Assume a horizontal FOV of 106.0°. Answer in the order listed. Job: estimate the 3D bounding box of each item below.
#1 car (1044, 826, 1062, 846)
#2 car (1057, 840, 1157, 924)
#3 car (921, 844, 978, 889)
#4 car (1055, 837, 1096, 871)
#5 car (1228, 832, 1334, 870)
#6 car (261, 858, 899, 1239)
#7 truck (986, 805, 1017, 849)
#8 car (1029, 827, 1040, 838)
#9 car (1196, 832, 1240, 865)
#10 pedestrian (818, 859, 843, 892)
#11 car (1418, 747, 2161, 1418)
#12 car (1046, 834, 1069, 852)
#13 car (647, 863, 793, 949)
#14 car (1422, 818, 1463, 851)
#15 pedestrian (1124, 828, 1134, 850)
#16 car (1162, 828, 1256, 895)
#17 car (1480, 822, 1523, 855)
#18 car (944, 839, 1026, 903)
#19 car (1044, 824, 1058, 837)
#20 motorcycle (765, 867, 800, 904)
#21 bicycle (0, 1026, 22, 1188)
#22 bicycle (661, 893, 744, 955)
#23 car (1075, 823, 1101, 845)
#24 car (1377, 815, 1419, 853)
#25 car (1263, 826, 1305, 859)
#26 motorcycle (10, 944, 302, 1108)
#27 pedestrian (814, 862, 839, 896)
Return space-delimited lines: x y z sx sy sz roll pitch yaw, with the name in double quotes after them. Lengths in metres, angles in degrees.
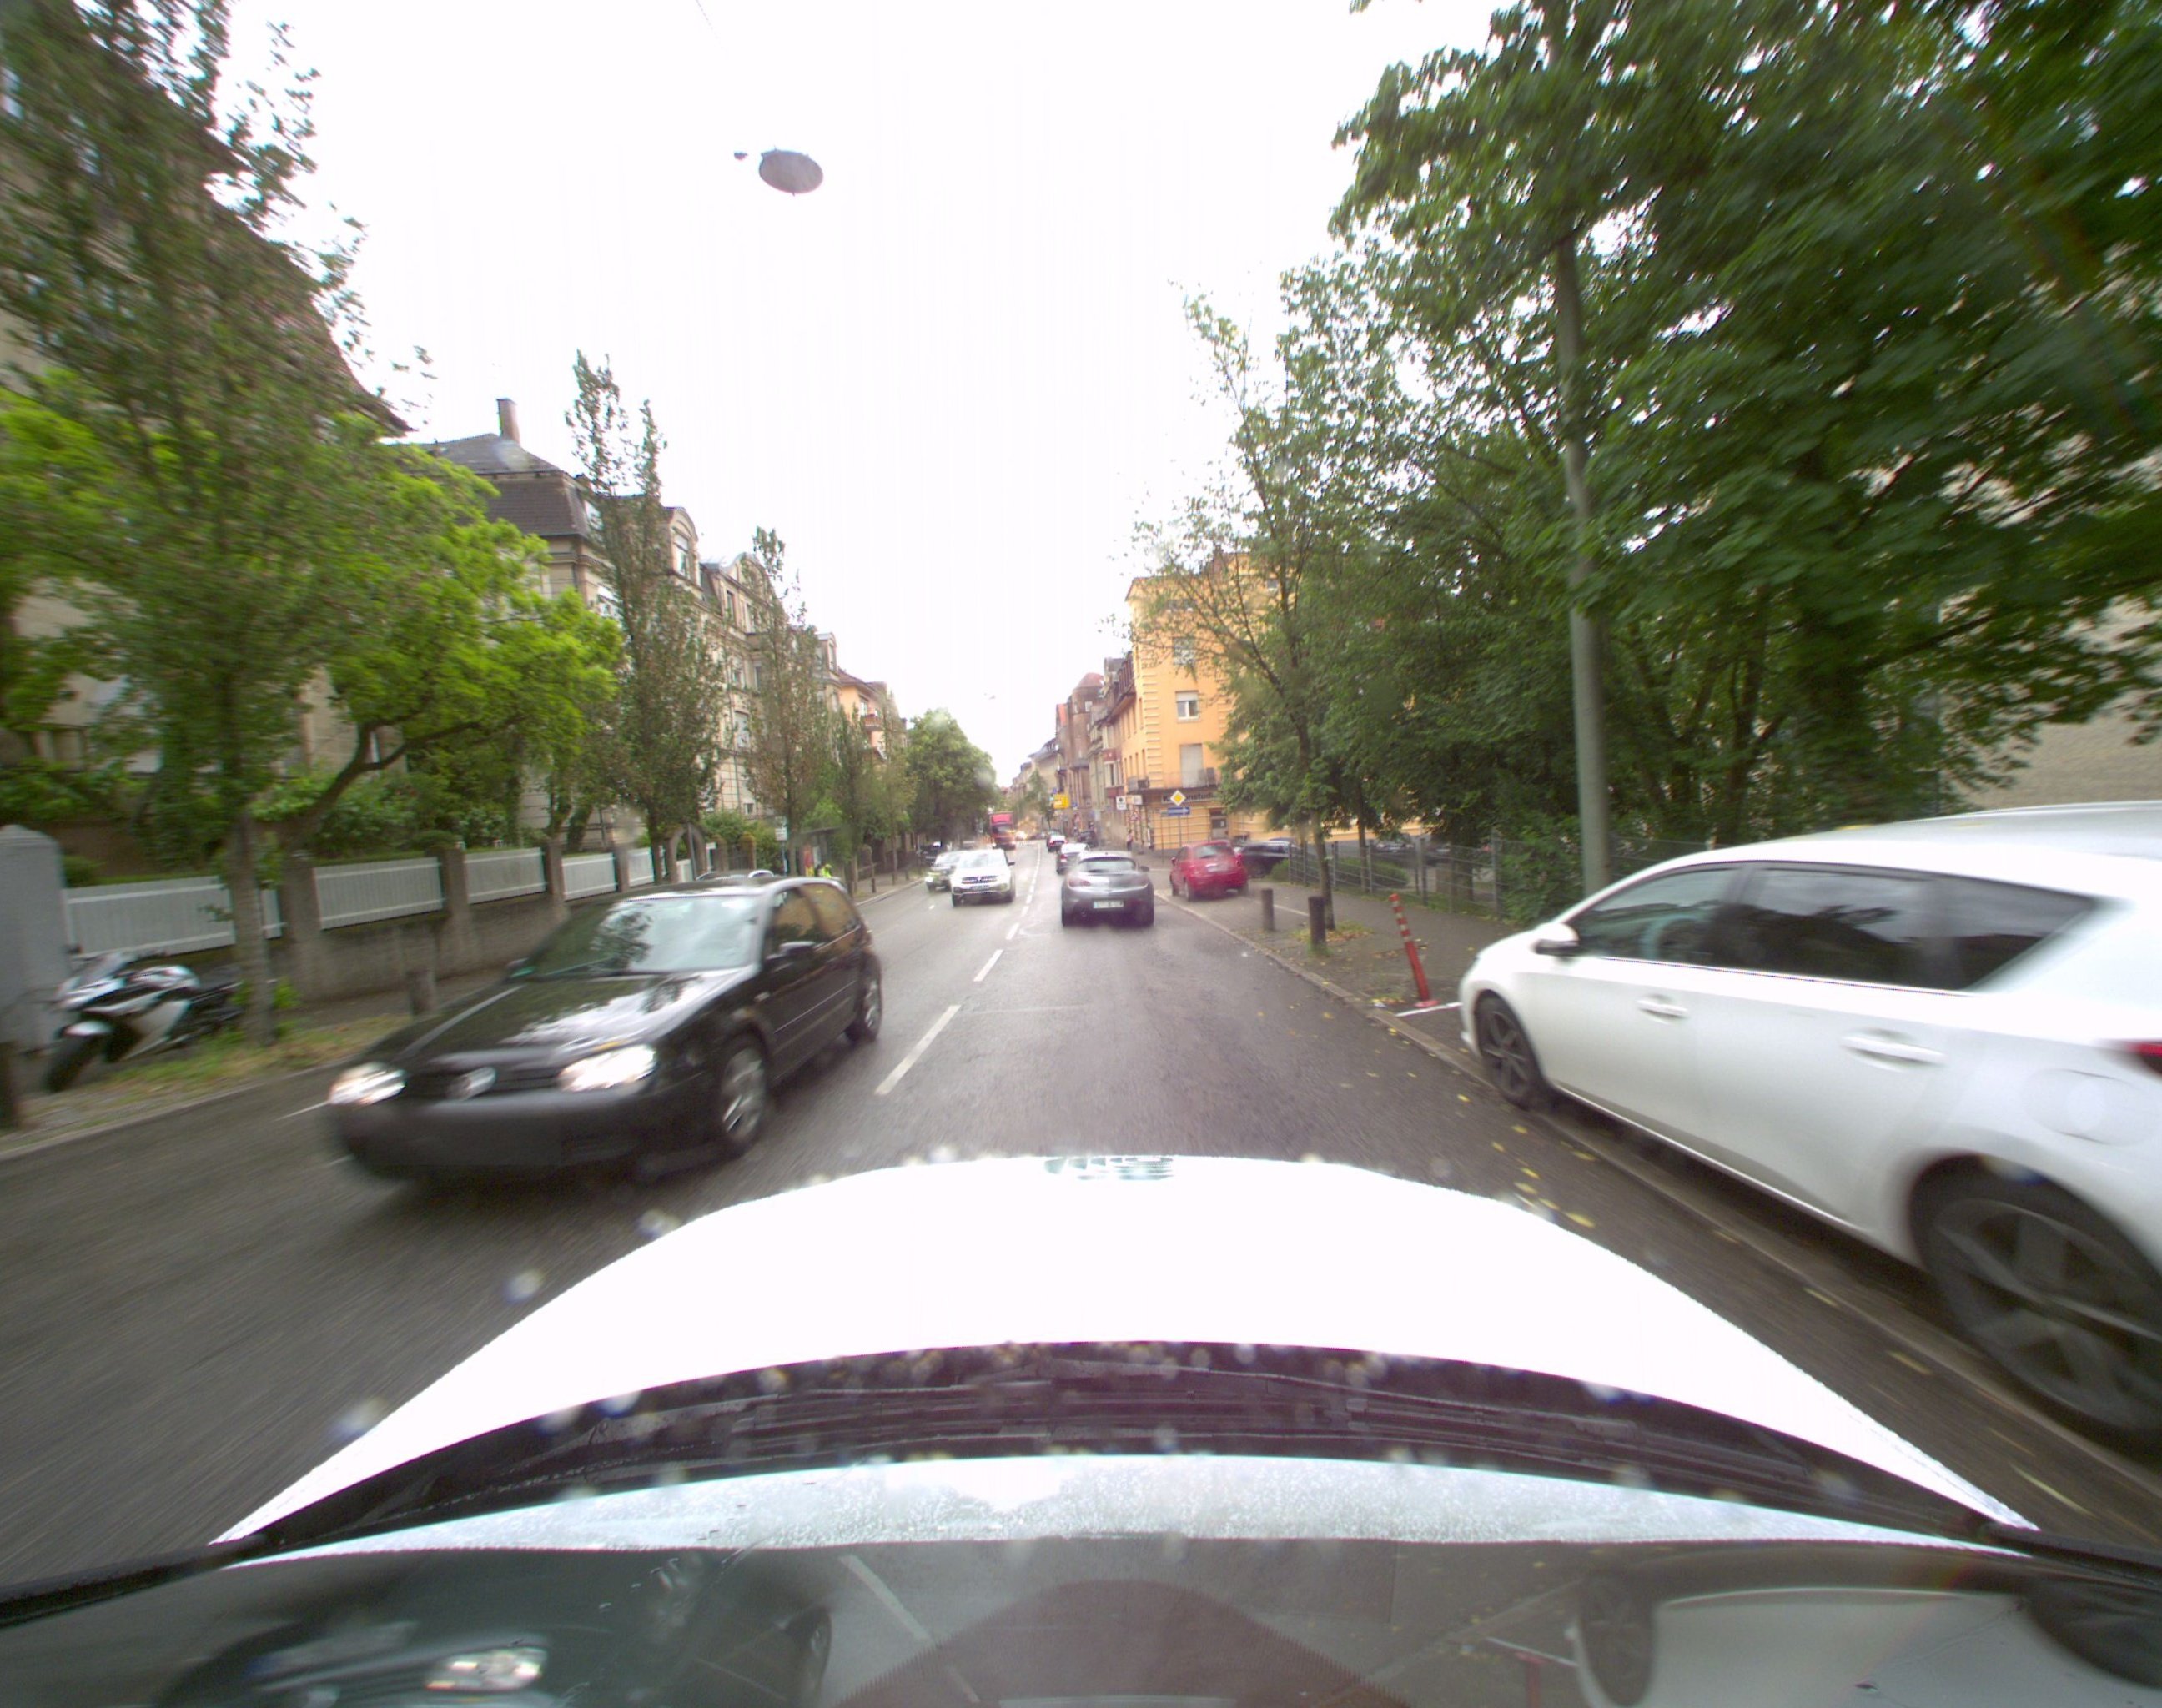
-2.814 -1.855 81.683 1.636 1.688 3.715 -3 5 -2 "car"
0.493 0.495 17.373 1.809 1.429 4.000 -3 2 0 "car"
-5.371 0.466 33.567 1.616 1.650 3.144 -5 1 1 "car"
-0.262 -0.038 38.752 1.771 1.429 3.785 -2 1 0 "car"
7.938 -0.104 32.523 3.765 1.430 1.780 1 -1 -4 "car"
-2.520 0.814 5.379 1.656 1.448 3.992 -4 0 0 "car"
-8.169 -2.894 84.764 2.784 4.131 10.838 -3 3 -4 "truck"
-8.417 -3.852 146.166 1.779 1.855 3.992 -3 0 -6 "car"
6.686 -0.302 39.444 1.763 1.429 3.801 -2 2 14 "car"
-10.863 0.918 35.350 0.704 1.343 0.613 -7 1 0 "pedestrian"
3.304 0.423 3.413 1.970 1.452 4.114 -7 0 0 "car"
-1.998 -0.936 69.056 1.764 1.414 3.712 -1 1 -3 "car"
-8.824 1.184 20.339 1.784 1.651 4.191 -7 1 -3 "car"
18.162 -1.004 40.823 1.760 1.429 3.808 -1 3 25 "car"
3.380 -1.068 57.048 0.611 1.496 0.553 -3 3 0 "pedestrian"
3.459 0.201 22.691 1.809 1.467 3.999 -8 0 0 "car"
21.096 -0.804 40.960 1.760 1.429 3.808 -1 3 25 "car"
-2.863 0.451 25.080 1.816 1.650 4.001 -5 1 1 "car"
-3.762 -2.962 103.048 1.636 1.536 3.713 -3 1 -2 "car"
-10.916 1.132 29.845 0.557 1.237 1.645 -5 0 1 "motorcycle"
-6.903 1.588 4.043 0.652 0.982 2.148 -5 0 -9 "bicycle"
-8.196 1.512 17.675 1.461 1.120 0.380 -7 1 -6 "bicycle"
0.627 -1.808 73.806 1.988 1.688 3.998 -9 1 -1 "car"
15.649 -1.003 40.065 1.760 1.666 3.807 -2 3 23 "car"
10.267 -0.624 41.040 1.762 1.429 3.804 -2 3 18 "car"
-8.951 1.589 8.055 0.652 1.121 2.148 -2 0 -9 "motorcycle"
-10.826 1.080 34.706 0.704 1.343 0.613 -7 1 0 "pedestrian"
